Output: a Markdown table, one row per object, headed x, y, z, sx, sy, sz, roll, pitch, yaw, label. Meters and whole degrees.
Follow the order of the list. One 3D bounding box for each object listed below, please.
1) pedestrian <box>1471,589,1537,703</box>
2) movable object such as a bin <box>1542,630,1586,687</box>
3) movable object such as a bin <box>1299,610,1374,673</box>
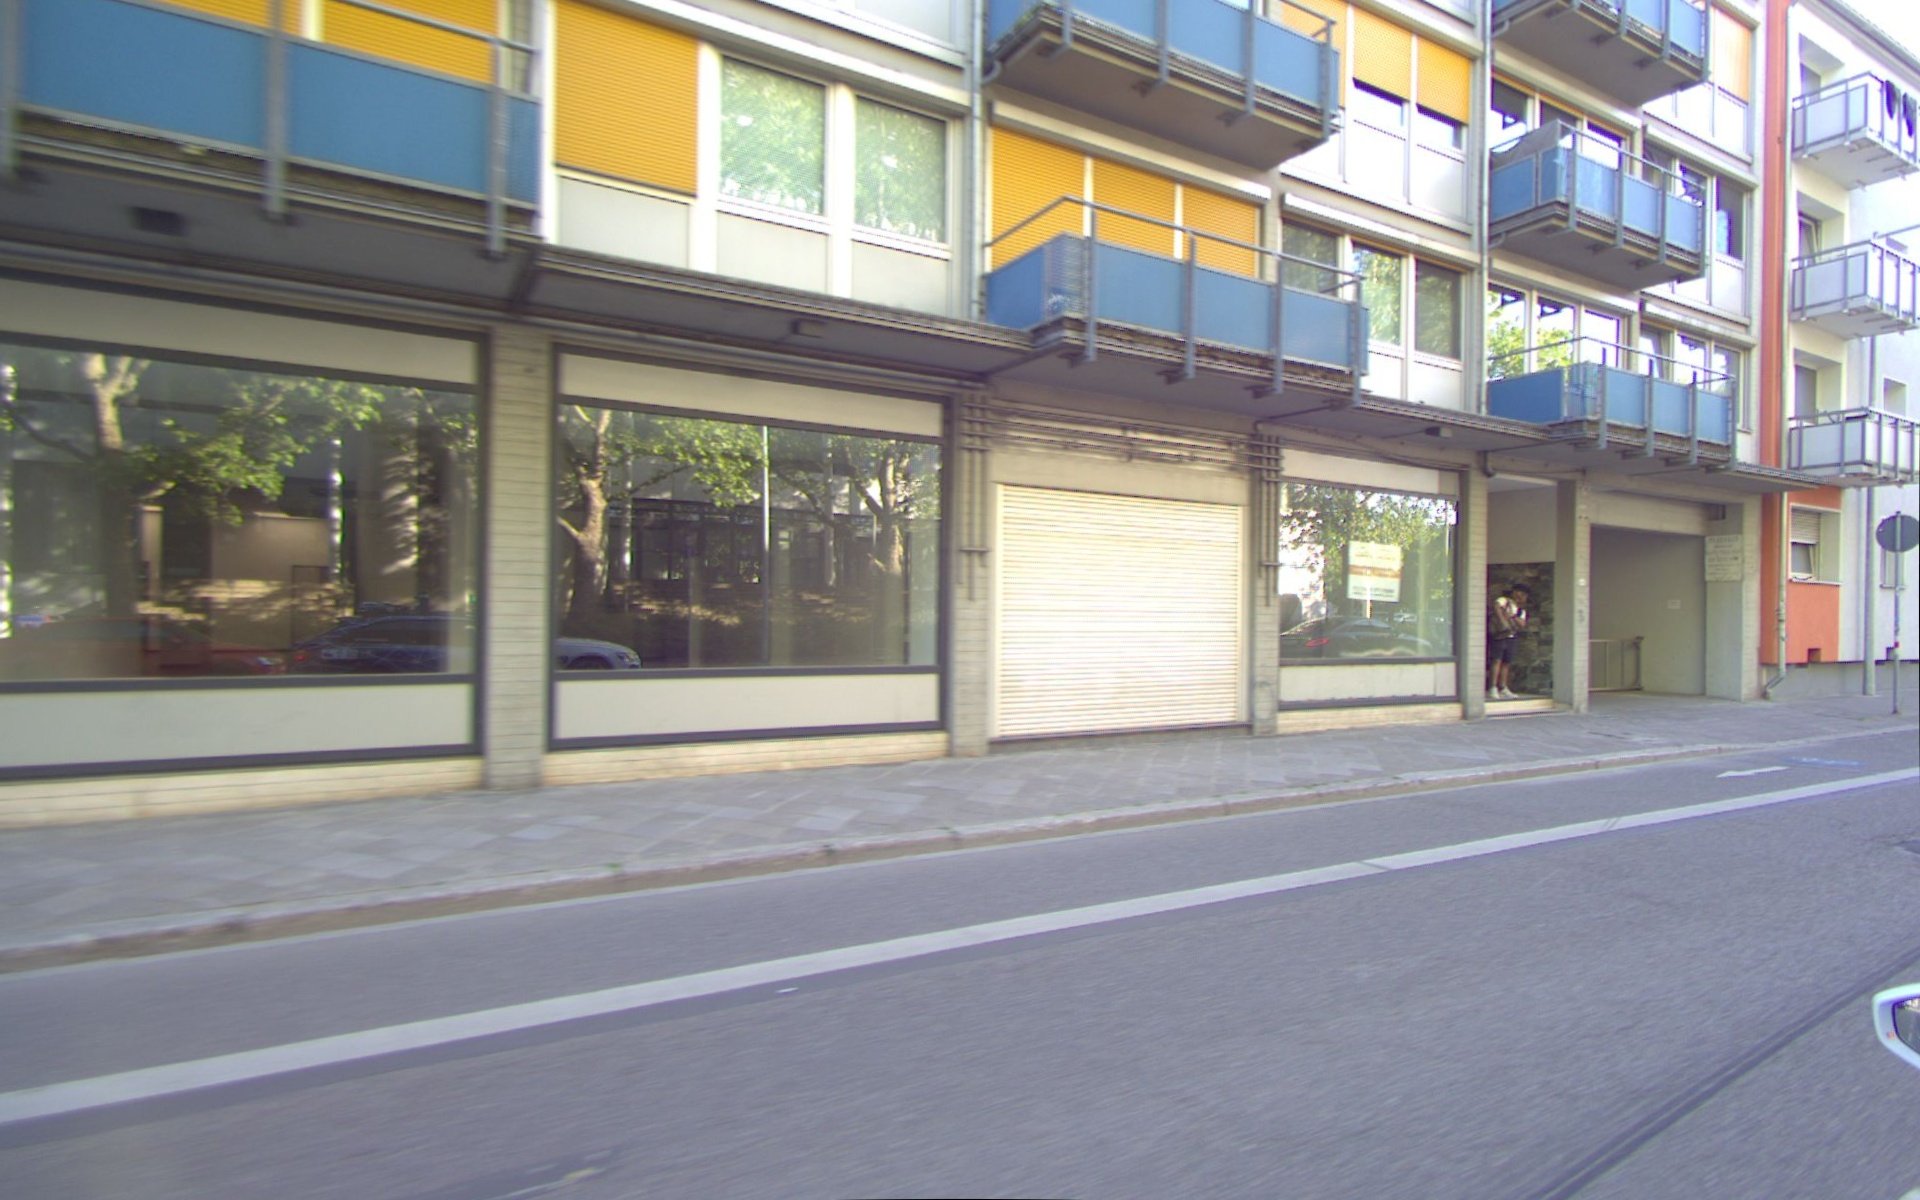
| x | y | z | sx | sy | sz | roll | pitch | yaw | label |
| --- | --- | --- | --- | --- | --- | --- | --- | --- | --- |
| 7.850 | 0.656 | 14.489 | 0.747 | 1.600 | 0.511 | 1 | 0 | -30 | pedestrian |
| 11.838 | 1.136 | 19.699 | 0.646 | 1.102 | 0.487 | 1 | 0 | -30 | movable object such as a bin |
| 8.968 | 0.963 | 23.970 | 1.067 | 1.433 | 1.312 | 1 | 0 | -30 | movable object such as a bin |
